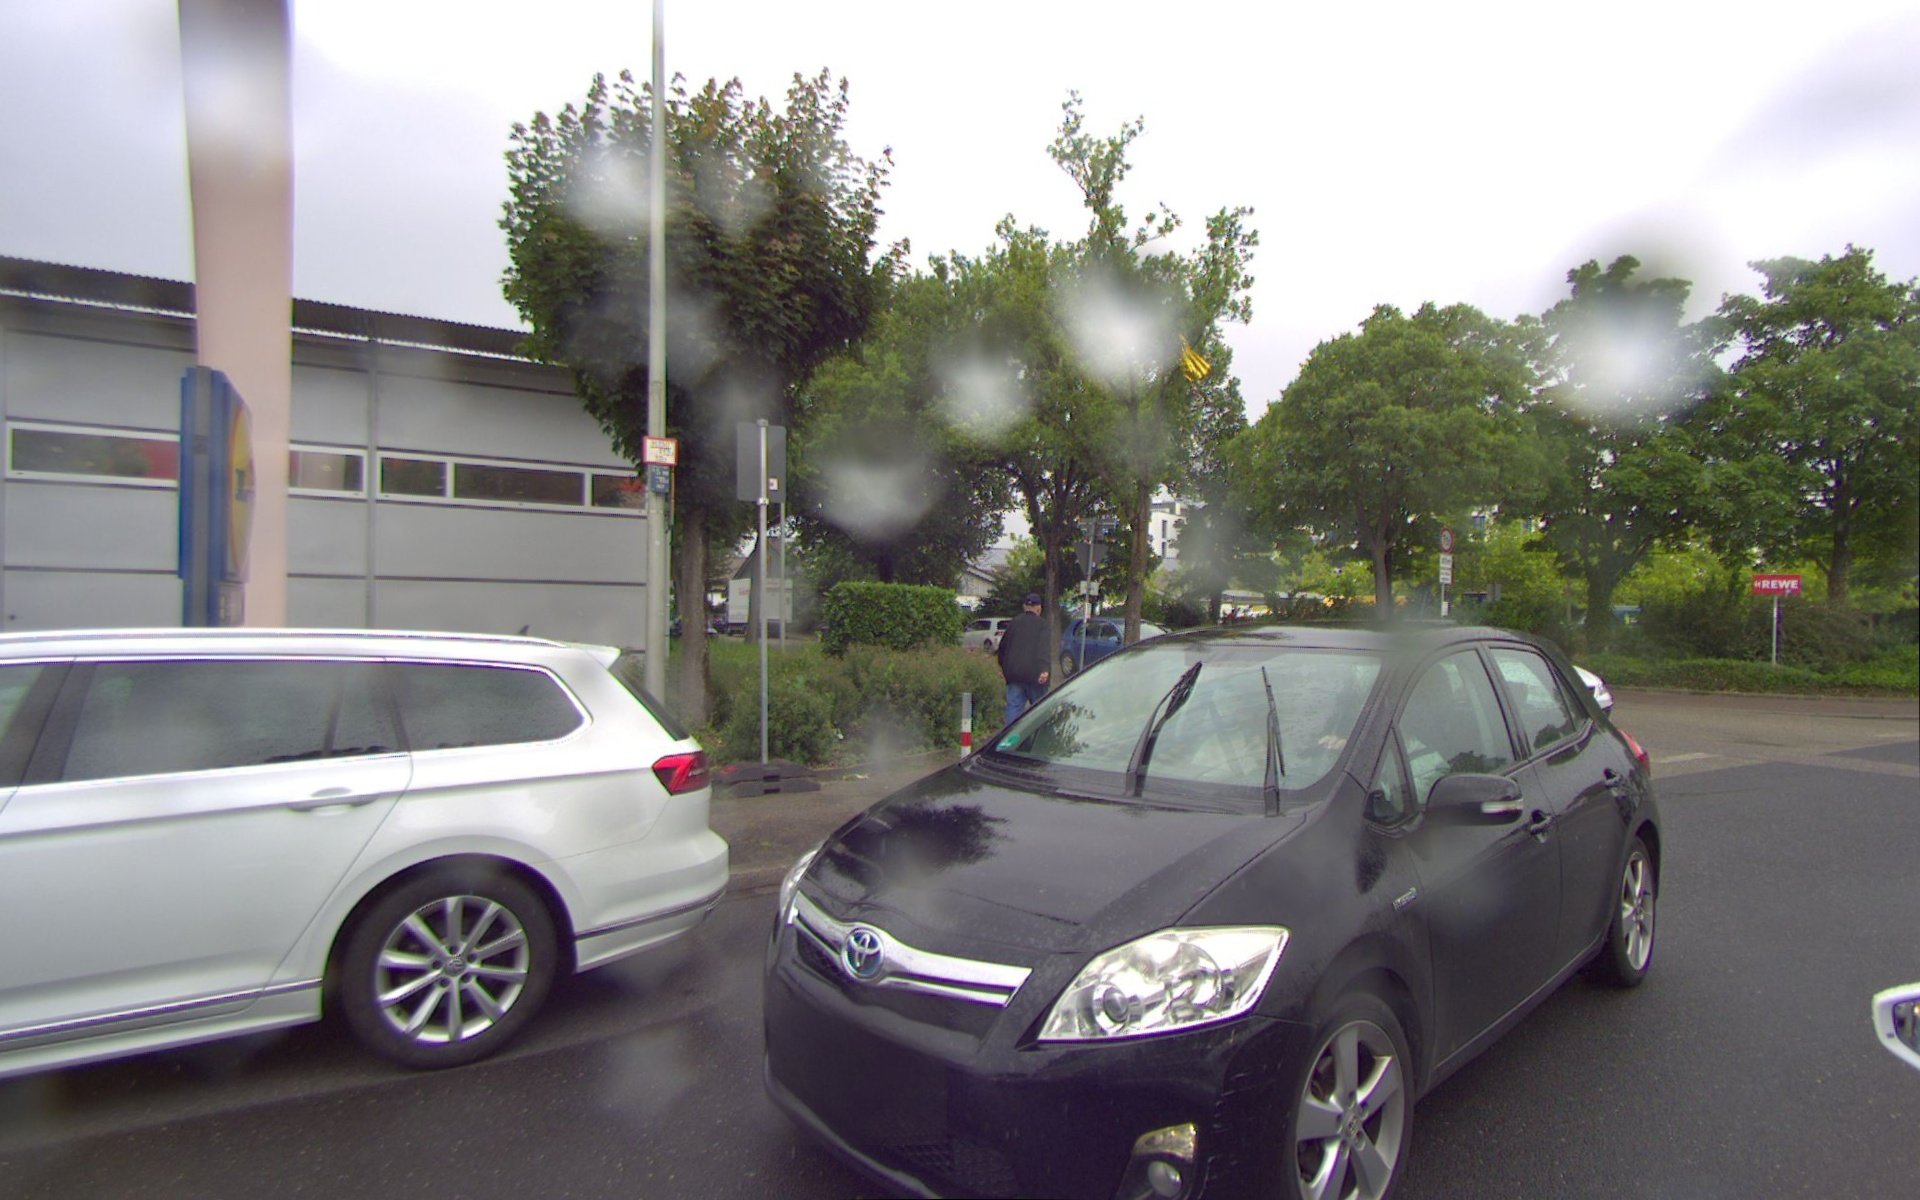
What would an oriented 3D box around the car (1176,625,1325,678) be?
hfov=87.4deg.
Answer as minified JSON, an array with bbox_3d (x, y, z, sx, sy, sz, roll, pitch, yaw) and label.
[{"bbox_3d":[8.059,1.381,28.203,1.715,1.381,3.970,1,-2,-29],"label":"car"}]

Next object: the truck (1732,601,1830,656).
[{"bbox_3d":[43.771,1.509,53.526,6.392,2.789,1.984,1,-1,-31],"label":"truck"}]

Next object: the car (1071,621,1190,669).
[{"bbox_3d":[5.439,1.418,32.552,1.715,1.460,3.970,1,-2,-29],"label":"car"}]

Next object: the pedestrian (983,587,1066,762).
[{"bbox_3d":[0.669,0.733,10.223,0.743,1.696,0.783,0,-1,10],"label":"pedestrian"}]

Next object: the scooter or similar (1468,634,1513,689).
[{"bbox_3d":[11.722,1.357,22.182,1.045,1.191,0.283,1,-1,-22],"label":"scooter or similar"}]

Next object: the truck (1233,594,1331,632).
[{"bbox_3d":[18.787,0.796,58.469,6.065,2.122,1.983,1,-1,-32],"label":"truck"}]

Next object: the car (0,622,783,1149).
[{"bbox_3d":[-3.055,0.819,3.608,4.437,1.453,1.828,1,-2,-29],"label":"car"}]

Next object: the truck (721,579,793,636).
[{"bbox_3d":[-13.326,0.539,65.593,2.572,3.515,6.761,1,-1,-30],"label":"truck"}]

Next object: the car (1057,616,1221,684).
[{"bbox_3d":[4.126,1.131,23.730,1.715,1.460,3.970,1,-2,-29],"label":"car"}]

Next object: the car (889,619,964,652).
[{"bbox_3d":[-1.539,1.572,44.629,1.715,1.401,4.066,1,-2,-29],"label":"car"}]

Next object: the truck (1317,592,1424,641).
[{"bbox_3d":[23.017,0.947,56.220,6.315,2.636,1.986,1,-1,-28],"label":"truck"}]

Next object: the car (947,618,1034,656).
[{"bbox_3d":[1.157,1.451,40.274,1.715,1.460,3.970,1,-2,-29],"label":"car"}]

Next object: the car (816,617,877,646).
[{"bbox_3d":[-5.841,1.585,51.337,1.715,1.401,4.066,1,-2,-29],"label":"car"}]

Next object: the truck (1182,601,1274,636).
[{"bbox_3d":[16.764,1.156,62.682,6.065,2.087,1.983,1,-1,-32],"label":"truck"}]

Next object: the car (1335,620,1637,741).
[{"bbox_3d":[7.185,1.022,14.235,1.705,1.460,3.993,0,-1,-10],"label":"car"}]

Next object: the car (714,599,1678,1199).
[{"bbox_3d":[1.266,0.779,3.795,3.974,1.460,1.713,1,-2,-45],"label":"car"}]
